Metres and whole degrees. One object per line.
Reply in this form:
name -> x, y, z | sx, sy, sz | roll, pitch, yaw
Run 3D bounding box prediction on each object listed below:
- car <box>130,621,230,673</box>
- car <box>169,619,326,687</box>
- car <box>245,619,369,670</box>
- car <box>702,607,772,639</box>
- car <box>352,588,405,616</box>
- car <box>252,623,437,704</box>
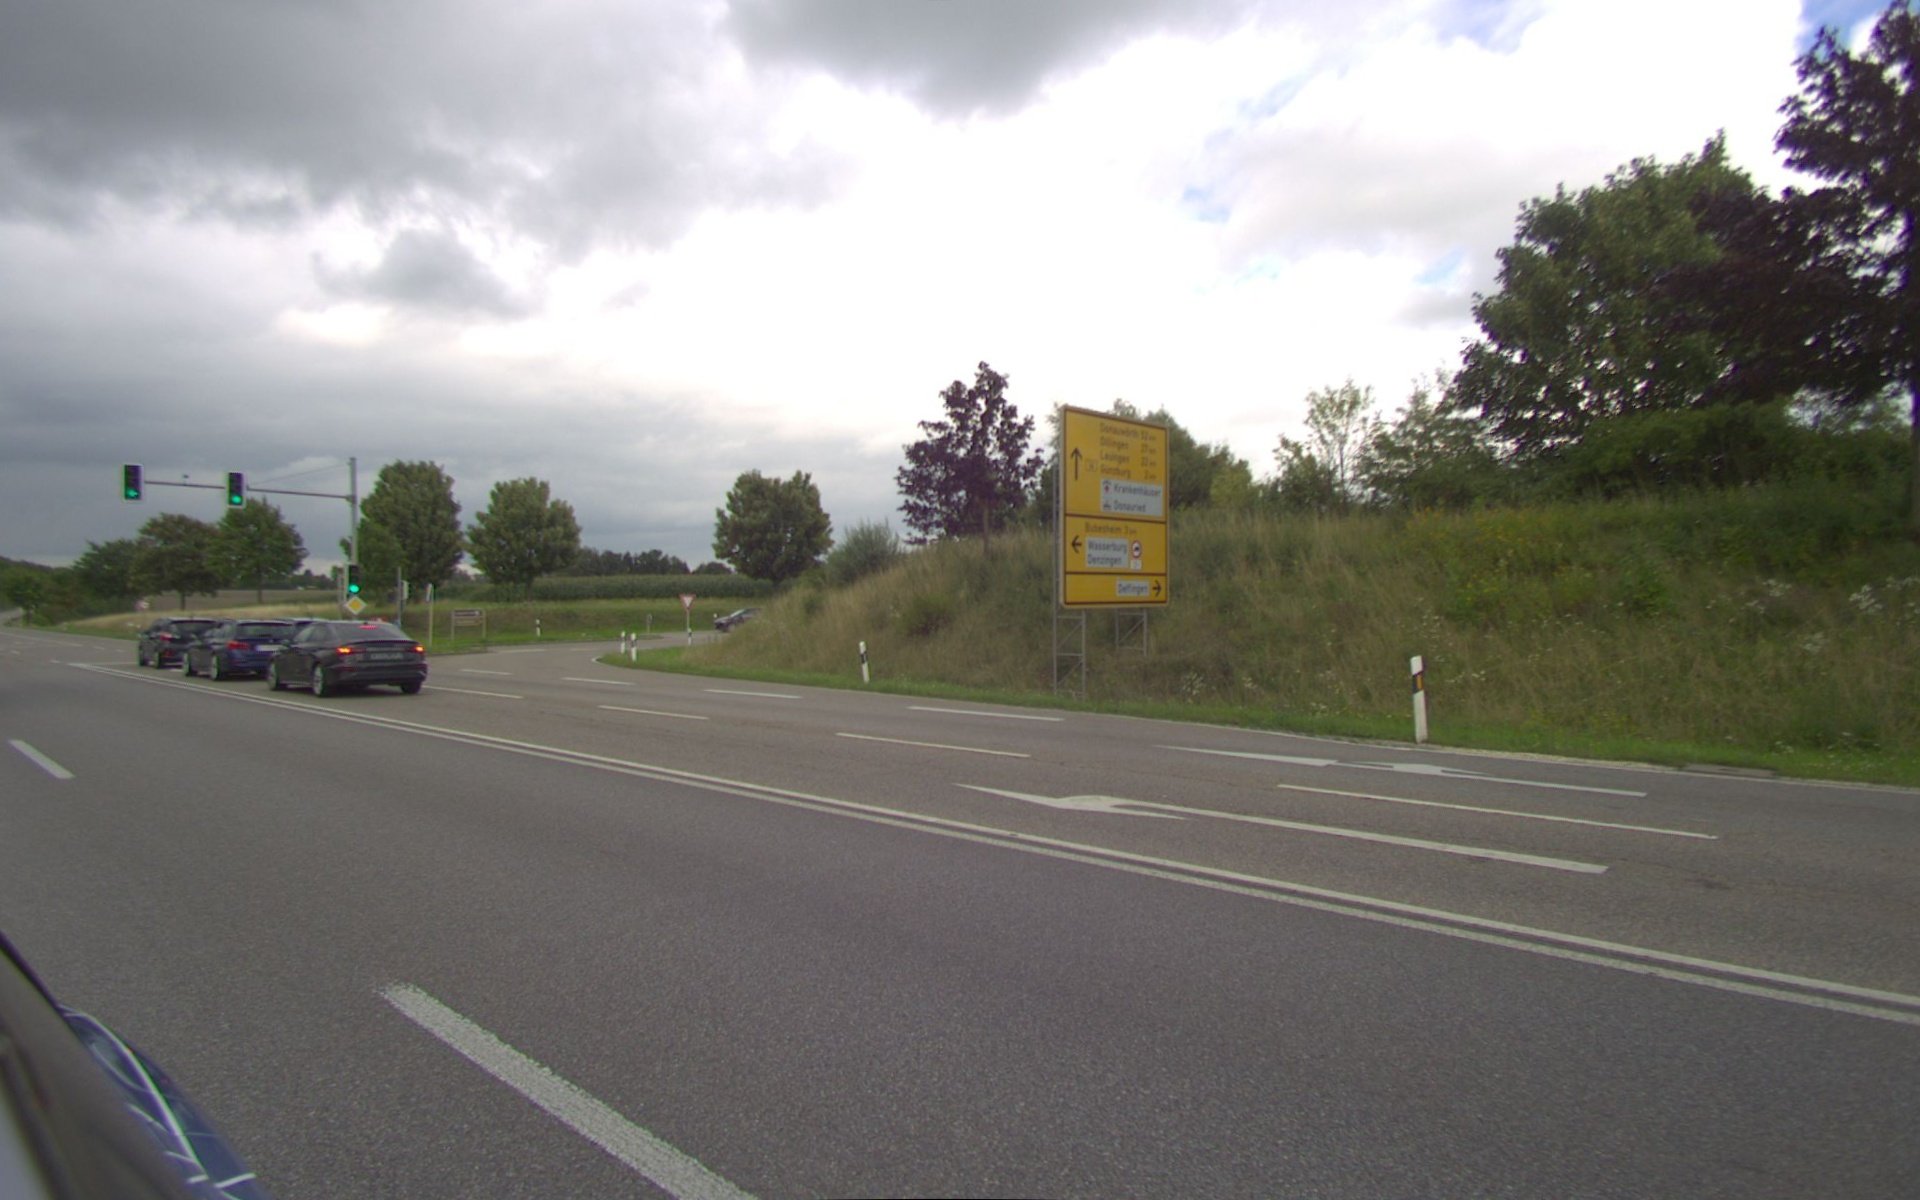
car -> -23.084, 1.342, 29.909 | 3.943, 1.454, 1.707 | -1, -2, 43
car -> -17.483, 1.238, 24.735 | 4.879, 1.495, 2.027 | -1, -2, 41
car -> -21.560, 1.407, 33.322 | 5.122, 1.546, 2.024 | -1, -1, 40
car -> -14.217, 1.469, 64.652 | 1.999, 2.029, 3.945 | -1, -2, 41
car -> -44.138, 0.169, 76.815 | 3.991, 2.029, 1.977 | -1, 0, 35
car -> -12.167, 1.163, 19.902 | 4.540, 1.394, 1.747 | -1, -1, 40
